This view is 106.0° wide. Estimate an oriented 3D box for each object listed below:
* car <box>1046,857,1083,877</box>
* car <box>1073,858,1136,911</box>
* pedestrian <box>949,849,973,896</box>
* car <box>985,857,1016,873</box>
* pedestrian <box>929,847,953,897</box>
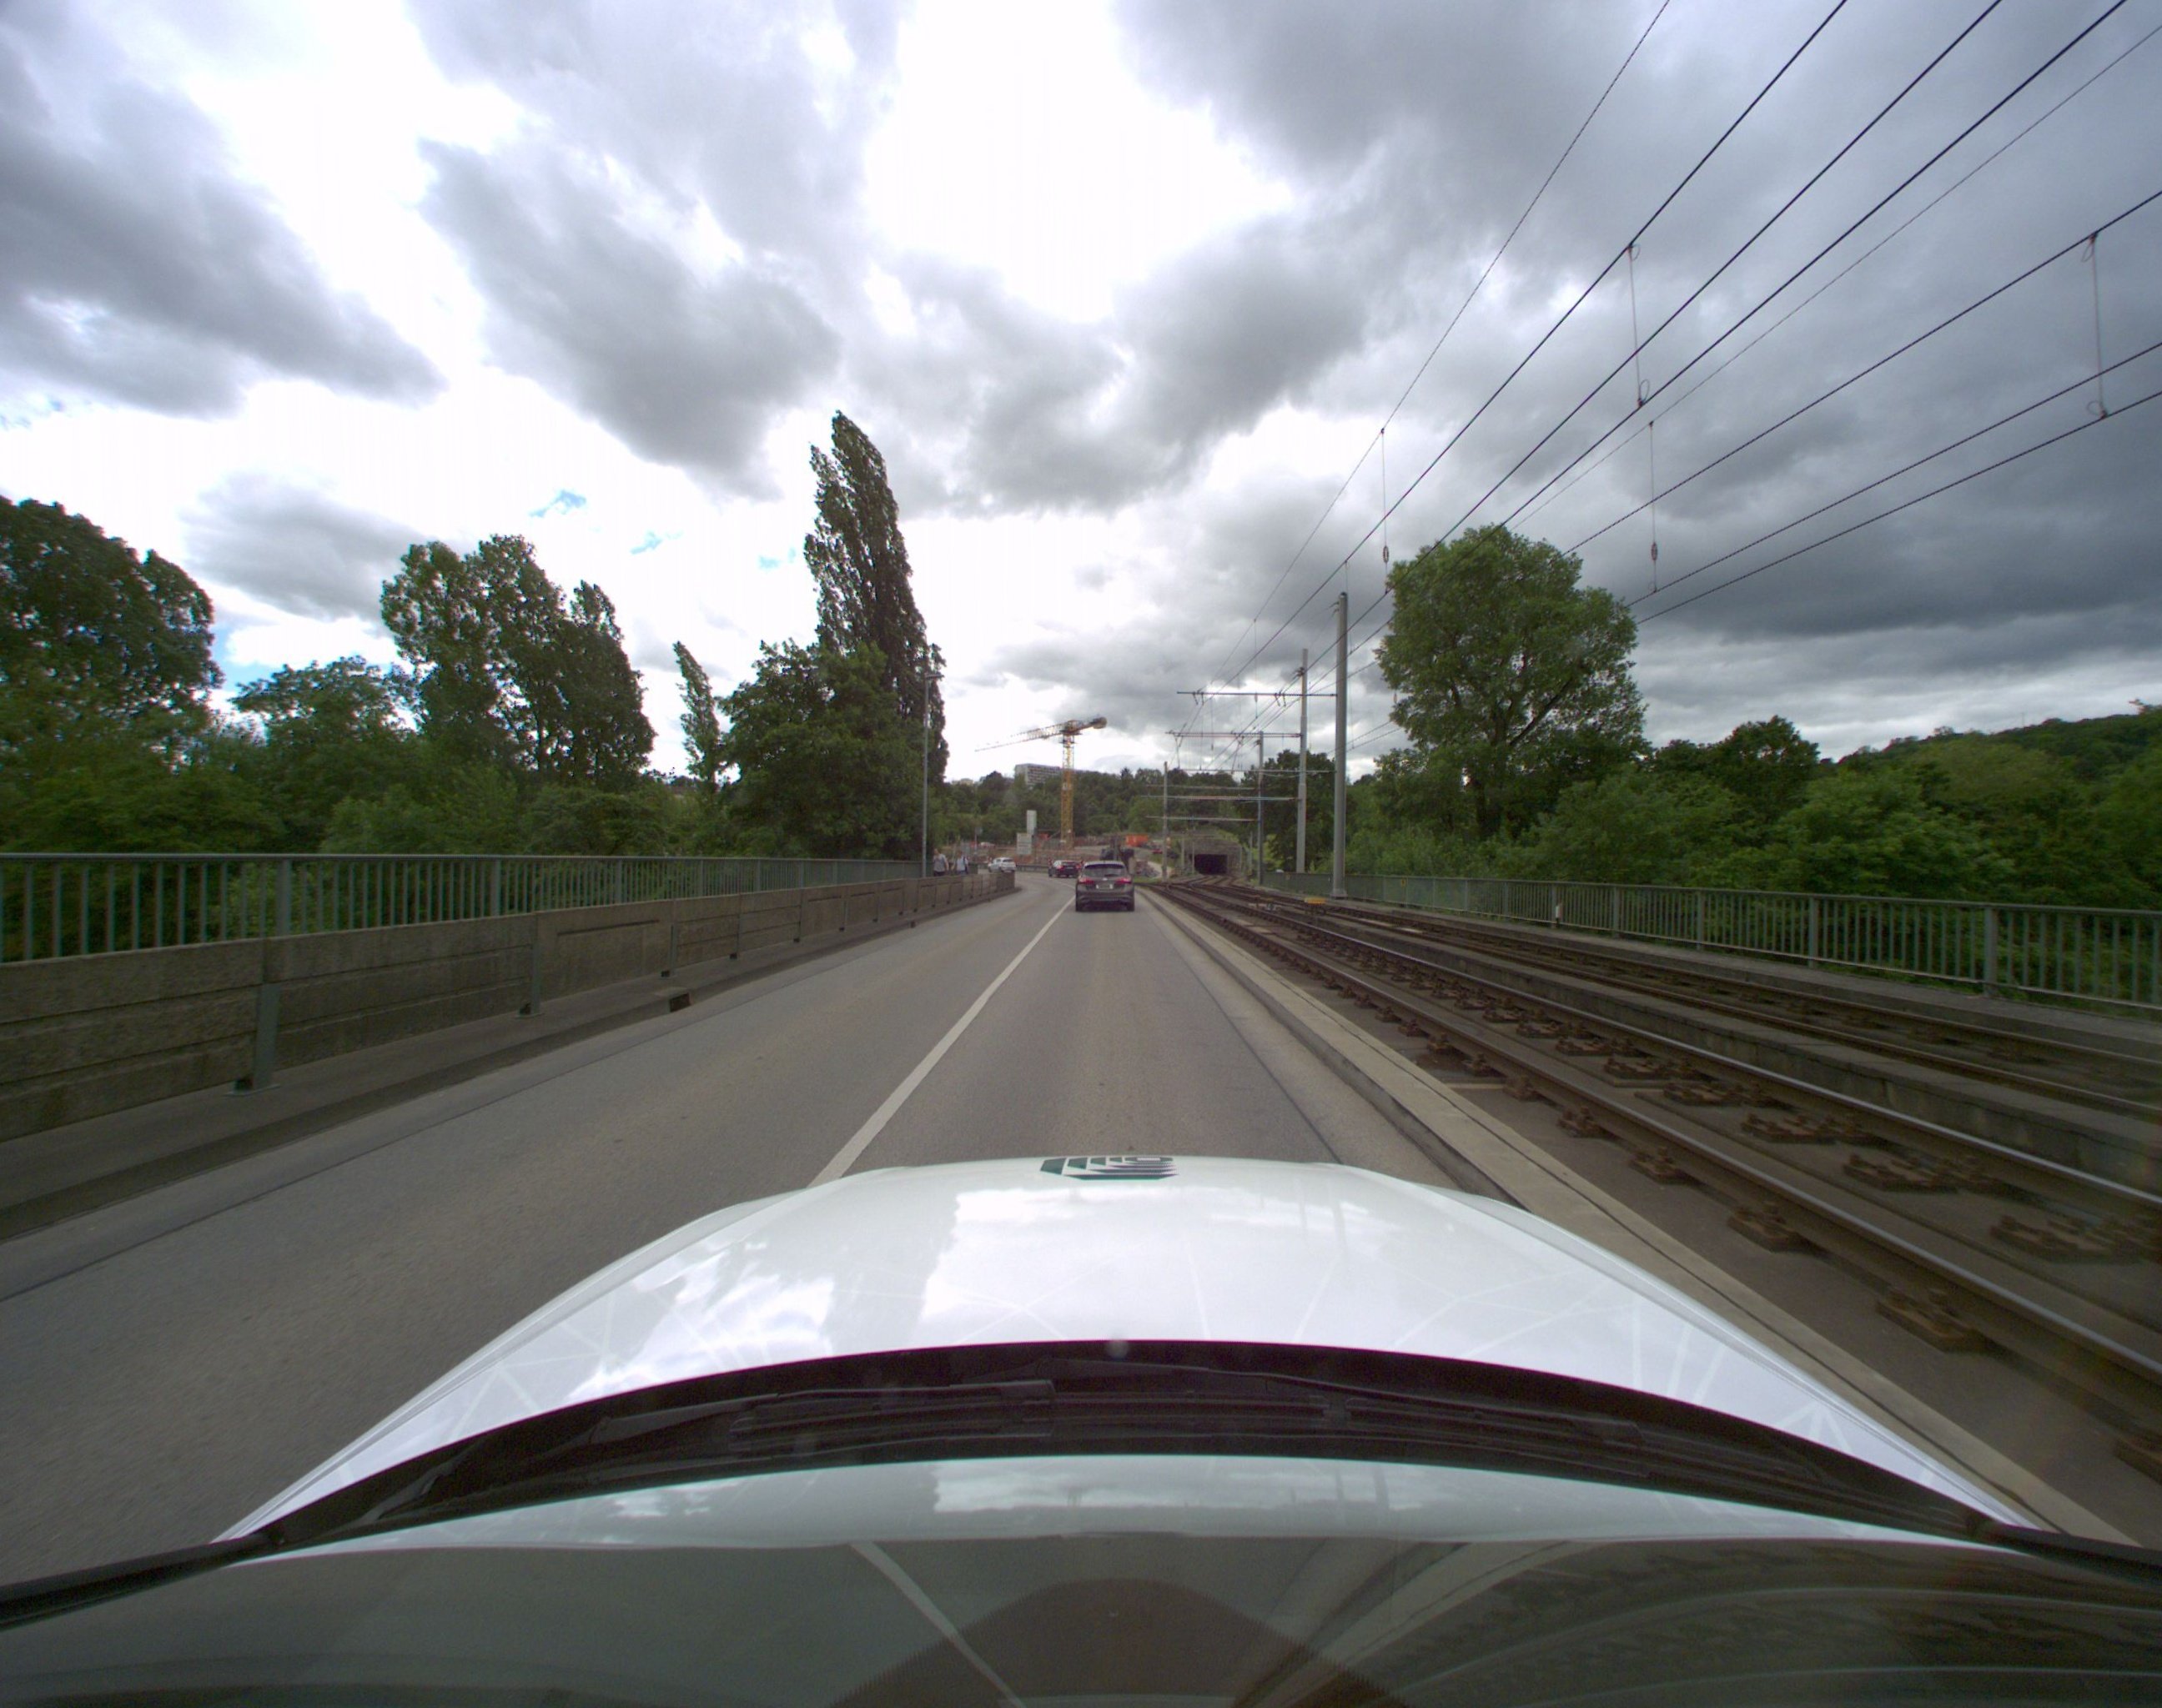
[{"bbox_3d":[-1.442,1.104,69.140,1.687,1.606,4.277,0,0,-22],"label":"car"},{"bbox_3d":[0.763,0.903,25.480,1.822,1.510,4.002,0,-1,2],"label":"car"},{"bbox_3d":[-4.405,0.672,29.963,0.718,1.701,0.723,0,-1,1],"label":"pedestrian"},{"bbox_3d":[-8.267,1.087,83.710,1.690,1.606,4.269,0,0,-28],"label":"car"},{"bbox_3d":[-5.311,0.678,30.932,0.718,1.839,0.723,0,-1,1],"label":"pedestrian"}]
